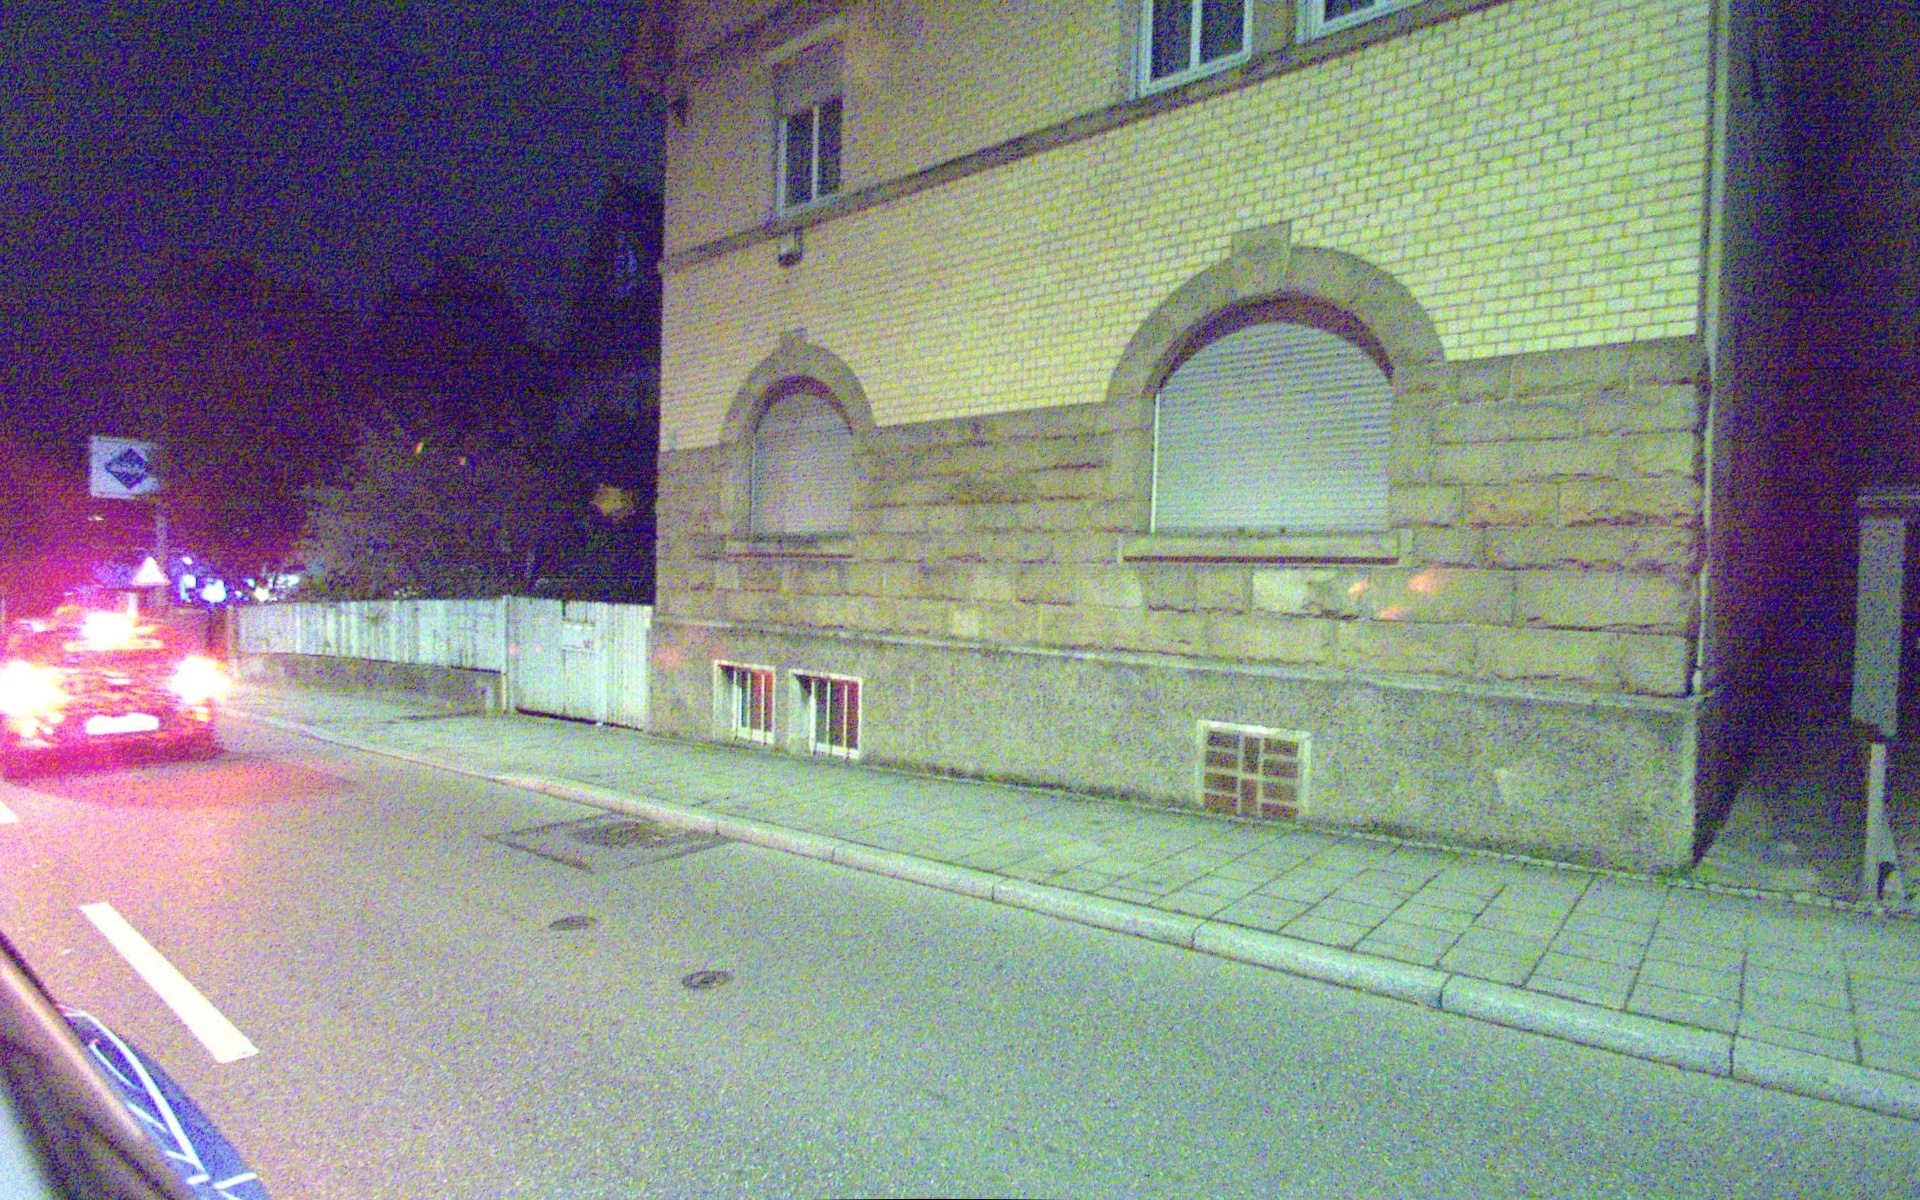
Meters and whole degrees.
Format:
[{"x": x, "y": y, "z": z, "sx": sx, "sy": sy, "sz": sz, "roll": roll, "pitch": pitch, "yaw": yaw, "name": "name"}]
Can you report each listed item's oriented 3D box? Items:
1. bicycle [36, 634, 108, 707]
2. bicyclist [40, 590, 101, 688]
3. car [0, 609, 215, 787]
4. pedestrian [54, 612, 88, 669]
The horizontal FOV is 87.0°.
[{"x": -15.378, "y": 1.183, "z": 17.504, "sx": 1.950, "sy": 1.157, "sz": 0.689, "roll": -1, "pitch": 0, "yaw": 41, "name": "bicycle"}, {"x": -15.358, "y": 0.651, "z": 17.479, "sx": 0.896, "sy": 1.649, "sz": 0.683, "roll": -1, "pitch": 0, "yaw": 41, "name": "bicyclist"}, {"x": -9.094, "y": 0.878, "z": 10.406, "sx": 3.393, "sy": 1.513, "sz": 1.565, "roll": -1, "pitch": -1, "yaw": 40, "name": "car"}, {"x": -27.711, "y": 1.253, "z": 31.551, "sx": 0.865, "sy": 1.739, "sz": 0.662, "roll": -1, "pitch": -1, "yaw": 38, "name": "pedestrian"}]
